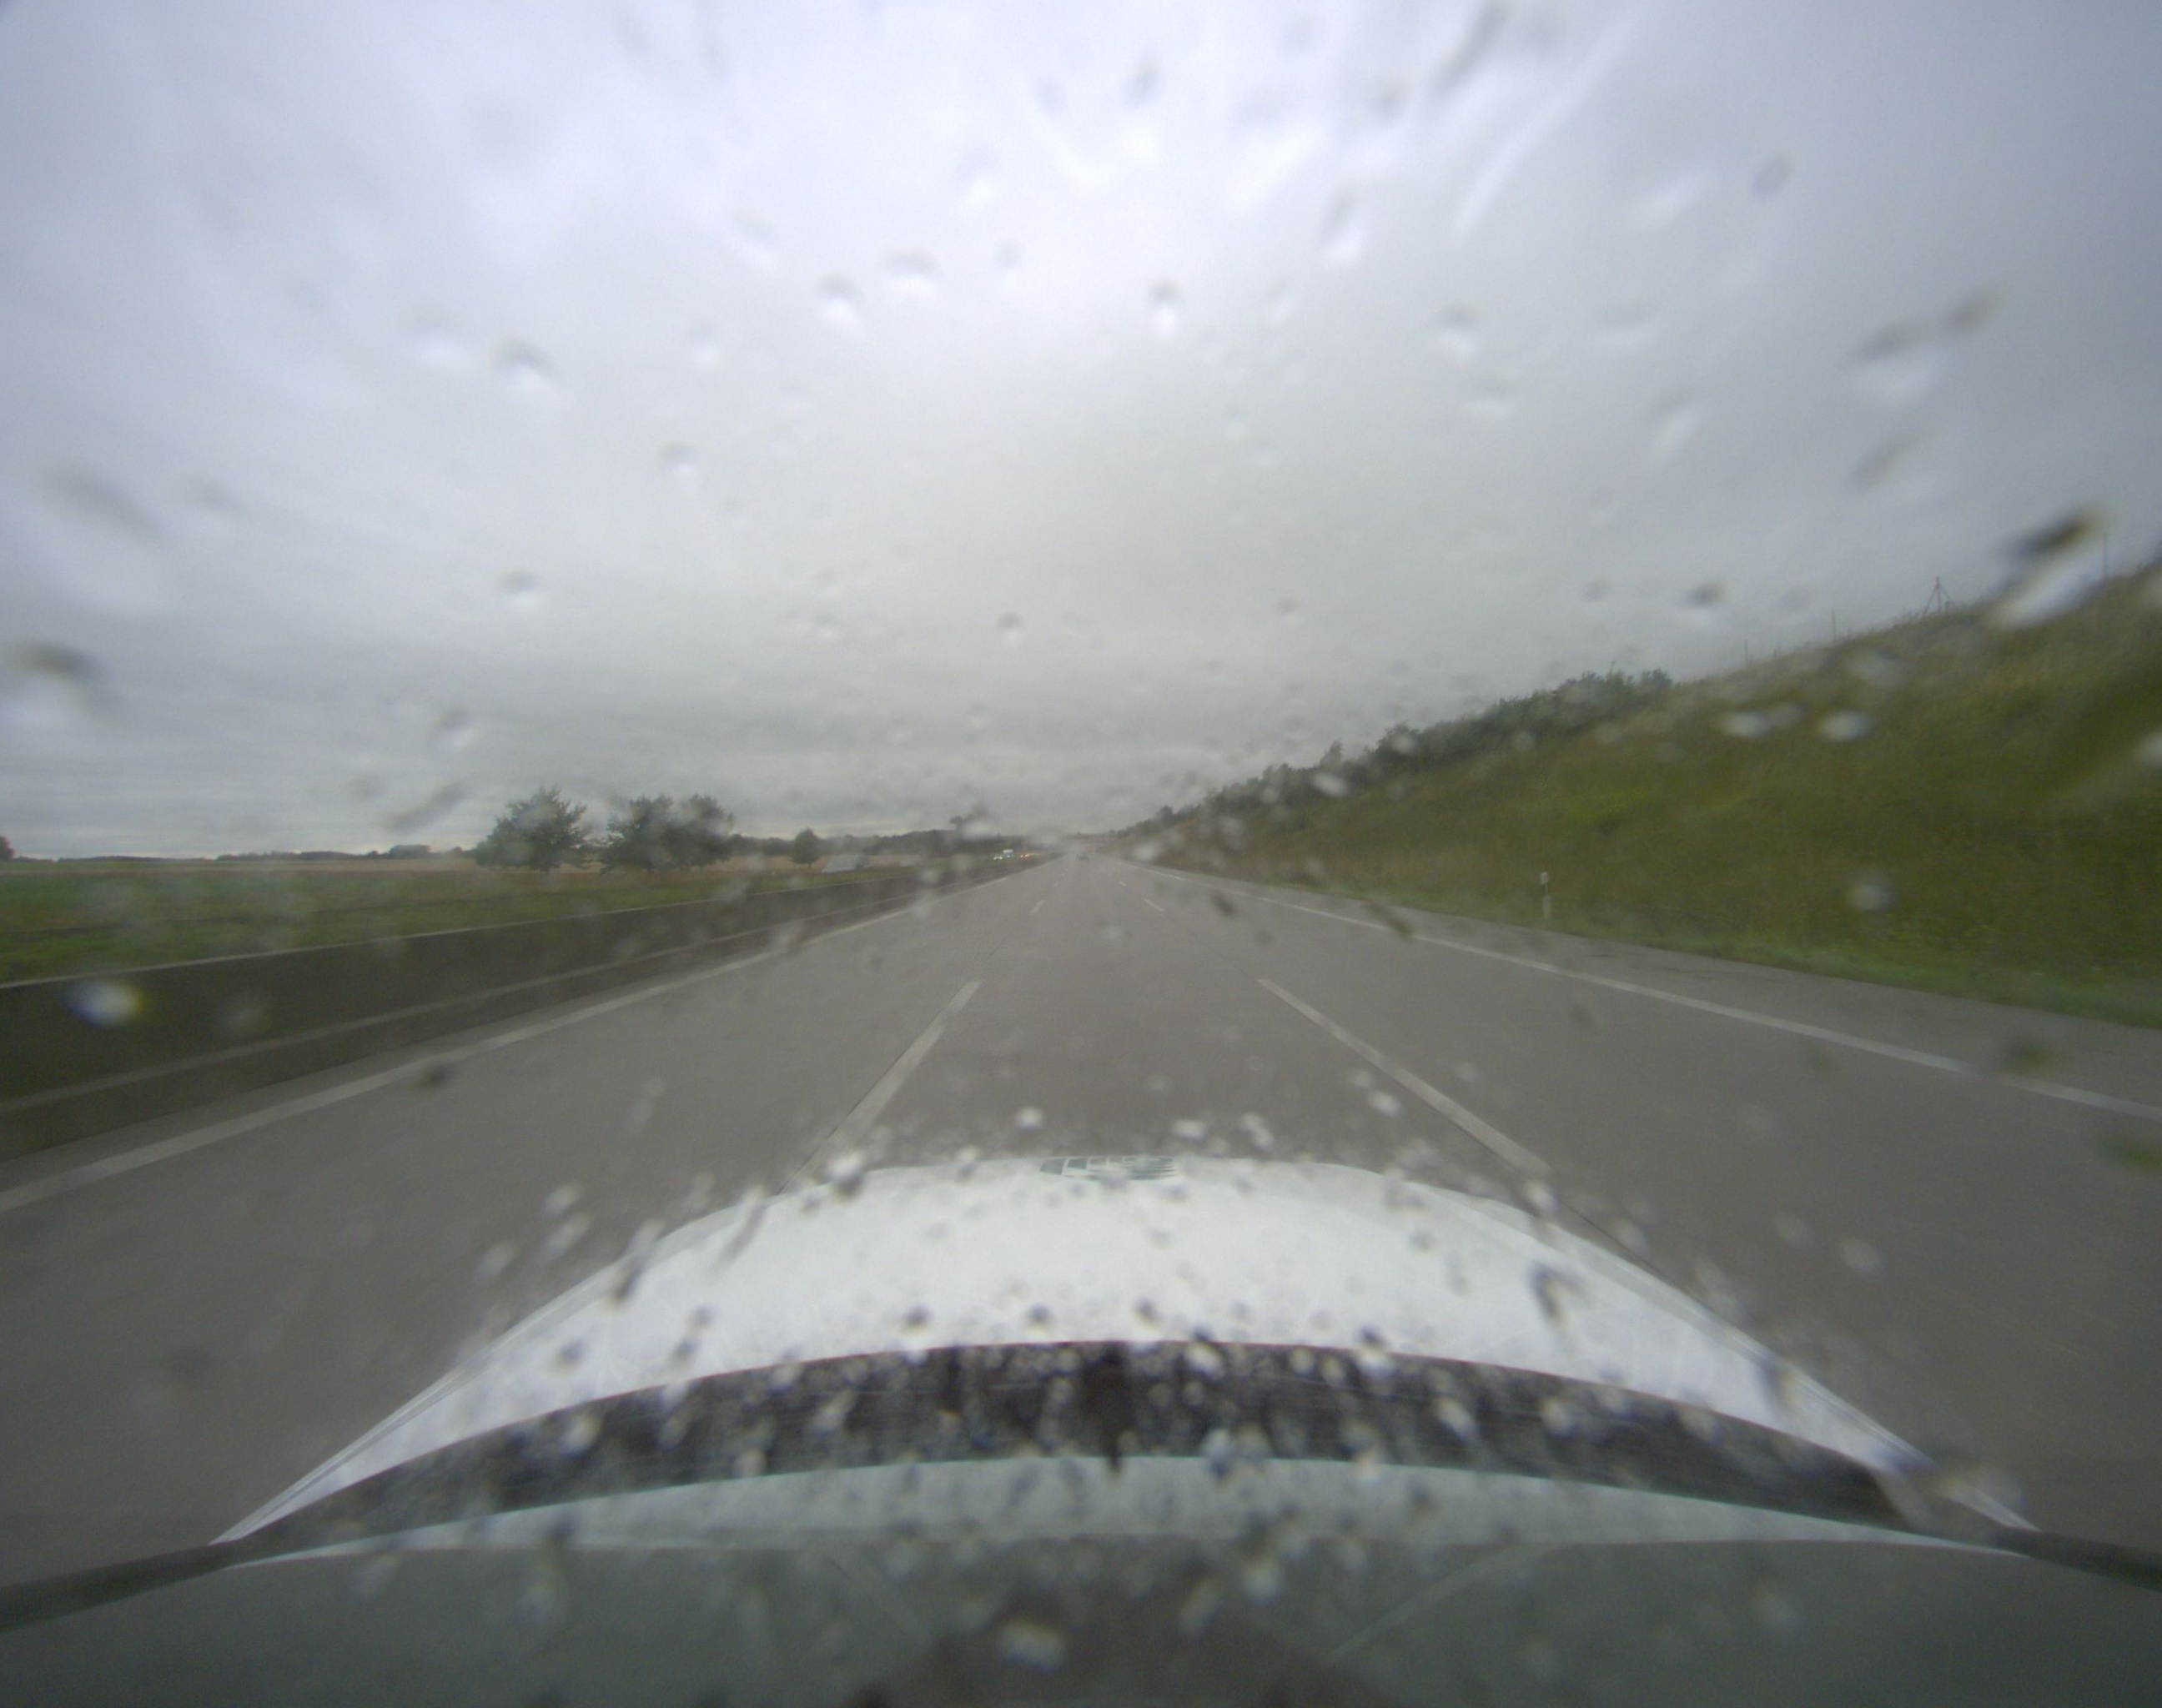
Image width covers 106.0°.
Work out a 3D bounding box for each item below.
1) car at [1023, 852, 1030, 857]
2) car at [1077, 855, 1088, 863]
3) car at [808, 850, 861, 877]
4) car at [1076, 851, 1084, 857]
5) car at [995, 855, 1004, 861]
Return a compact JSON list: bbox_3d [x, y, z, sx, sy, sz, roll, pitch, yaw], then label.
[{"bbox_3d":[-15.070,0.113,223.434,1.667,1.279,4.064,-1,0,-1],"label":"car"},{"bbox_3d":[0.278,0.920,154.779,1.842,1.331,4.428,-1,1,-1],"label":"car"},{"bbox_3d":[-13.266,0.472,44.058,1.667,1.398,4.064,0,0,-1],"label":"car"},{"bbox_3d":[-0.252,-0.033,189.130,1.724,1.331,4.428,-1,1,-1],"label":"car"},{"bbox_3d":[-18.573,0.833,184.886,1.667,1.279,4.064,-1,0,-1],"label":"car"}]
